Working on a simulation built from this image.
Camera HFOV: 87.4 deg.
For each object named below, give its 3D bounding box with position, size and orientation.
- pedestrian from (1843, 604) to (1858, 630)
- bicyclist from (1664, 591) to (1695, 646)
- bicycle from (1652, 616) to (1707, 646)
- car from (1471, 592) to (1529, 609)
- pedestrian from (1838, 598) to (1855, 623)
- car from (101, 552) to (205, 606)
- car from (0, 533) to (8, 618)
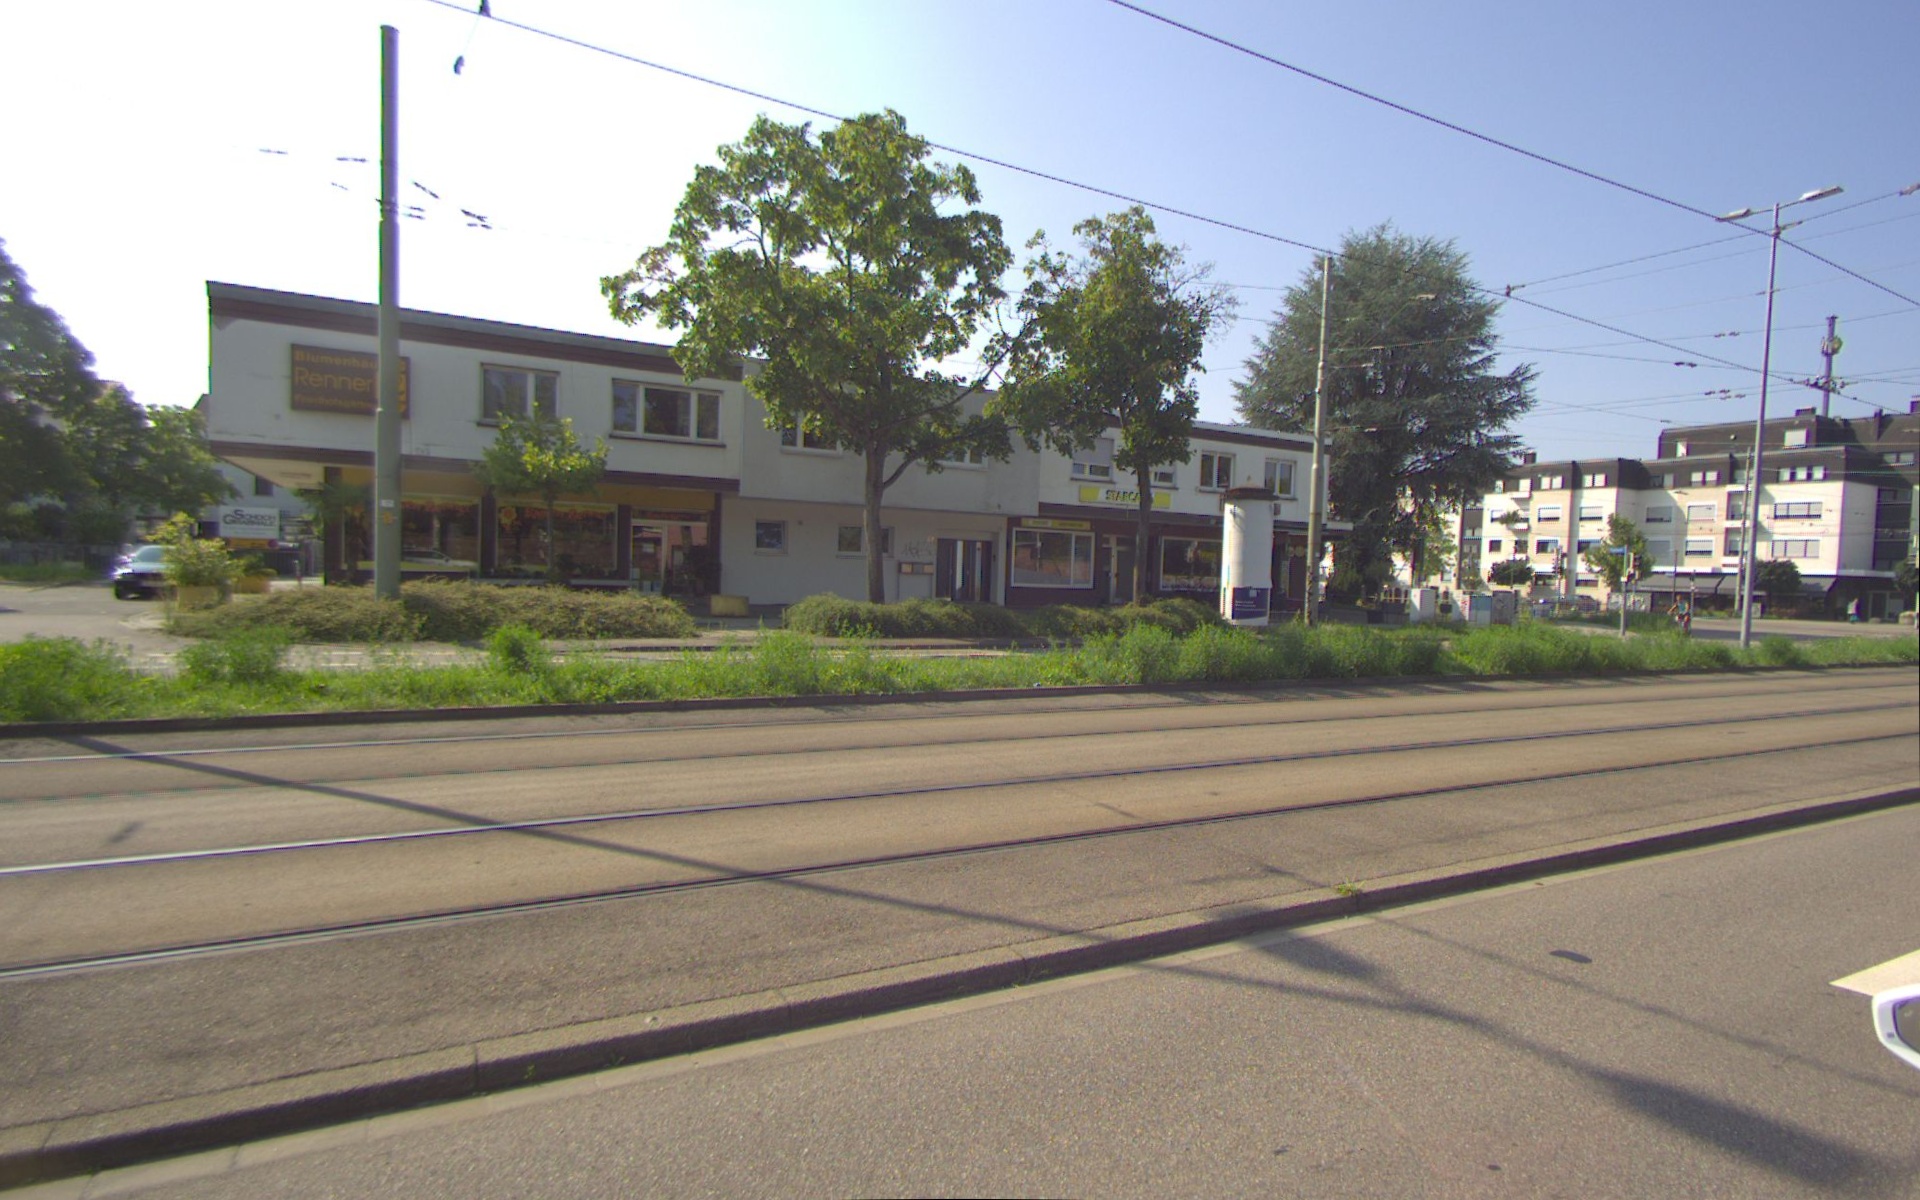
[{"bbox_3d":[61.367,1.139,69.201,0.589,1.768,0.565,1,0,27],"label":"pedestrian"},{"bbox_3d":[27.746,0.718,38.727,0.764,2.092,0.635,1,0,-25],"label":"bicyclist"},{"bbox_3d":[27.733,1.210,38.719,2.235,1.106,0.713,1,0,-25],"label":"bicycle"},{"bbox_3d":[45.549,0.051,84.824,1.653,1.317,4.090,1,0,-29],"label":"car"},{"bbox_3d":[64.169,0.779,72.691,0.689,1.764,0.677,1,0,-28],"label":"pedestrian"},{"bbox_3d":[-21.839,-0.598,27.327,1.595,1.361,3.893,1,2,-30],"label":"car"},{"bbox_3d":[-22.460,-0.596,22.176,1.977,1.782,4.360,-1,3,-45],"label":"car"}]
